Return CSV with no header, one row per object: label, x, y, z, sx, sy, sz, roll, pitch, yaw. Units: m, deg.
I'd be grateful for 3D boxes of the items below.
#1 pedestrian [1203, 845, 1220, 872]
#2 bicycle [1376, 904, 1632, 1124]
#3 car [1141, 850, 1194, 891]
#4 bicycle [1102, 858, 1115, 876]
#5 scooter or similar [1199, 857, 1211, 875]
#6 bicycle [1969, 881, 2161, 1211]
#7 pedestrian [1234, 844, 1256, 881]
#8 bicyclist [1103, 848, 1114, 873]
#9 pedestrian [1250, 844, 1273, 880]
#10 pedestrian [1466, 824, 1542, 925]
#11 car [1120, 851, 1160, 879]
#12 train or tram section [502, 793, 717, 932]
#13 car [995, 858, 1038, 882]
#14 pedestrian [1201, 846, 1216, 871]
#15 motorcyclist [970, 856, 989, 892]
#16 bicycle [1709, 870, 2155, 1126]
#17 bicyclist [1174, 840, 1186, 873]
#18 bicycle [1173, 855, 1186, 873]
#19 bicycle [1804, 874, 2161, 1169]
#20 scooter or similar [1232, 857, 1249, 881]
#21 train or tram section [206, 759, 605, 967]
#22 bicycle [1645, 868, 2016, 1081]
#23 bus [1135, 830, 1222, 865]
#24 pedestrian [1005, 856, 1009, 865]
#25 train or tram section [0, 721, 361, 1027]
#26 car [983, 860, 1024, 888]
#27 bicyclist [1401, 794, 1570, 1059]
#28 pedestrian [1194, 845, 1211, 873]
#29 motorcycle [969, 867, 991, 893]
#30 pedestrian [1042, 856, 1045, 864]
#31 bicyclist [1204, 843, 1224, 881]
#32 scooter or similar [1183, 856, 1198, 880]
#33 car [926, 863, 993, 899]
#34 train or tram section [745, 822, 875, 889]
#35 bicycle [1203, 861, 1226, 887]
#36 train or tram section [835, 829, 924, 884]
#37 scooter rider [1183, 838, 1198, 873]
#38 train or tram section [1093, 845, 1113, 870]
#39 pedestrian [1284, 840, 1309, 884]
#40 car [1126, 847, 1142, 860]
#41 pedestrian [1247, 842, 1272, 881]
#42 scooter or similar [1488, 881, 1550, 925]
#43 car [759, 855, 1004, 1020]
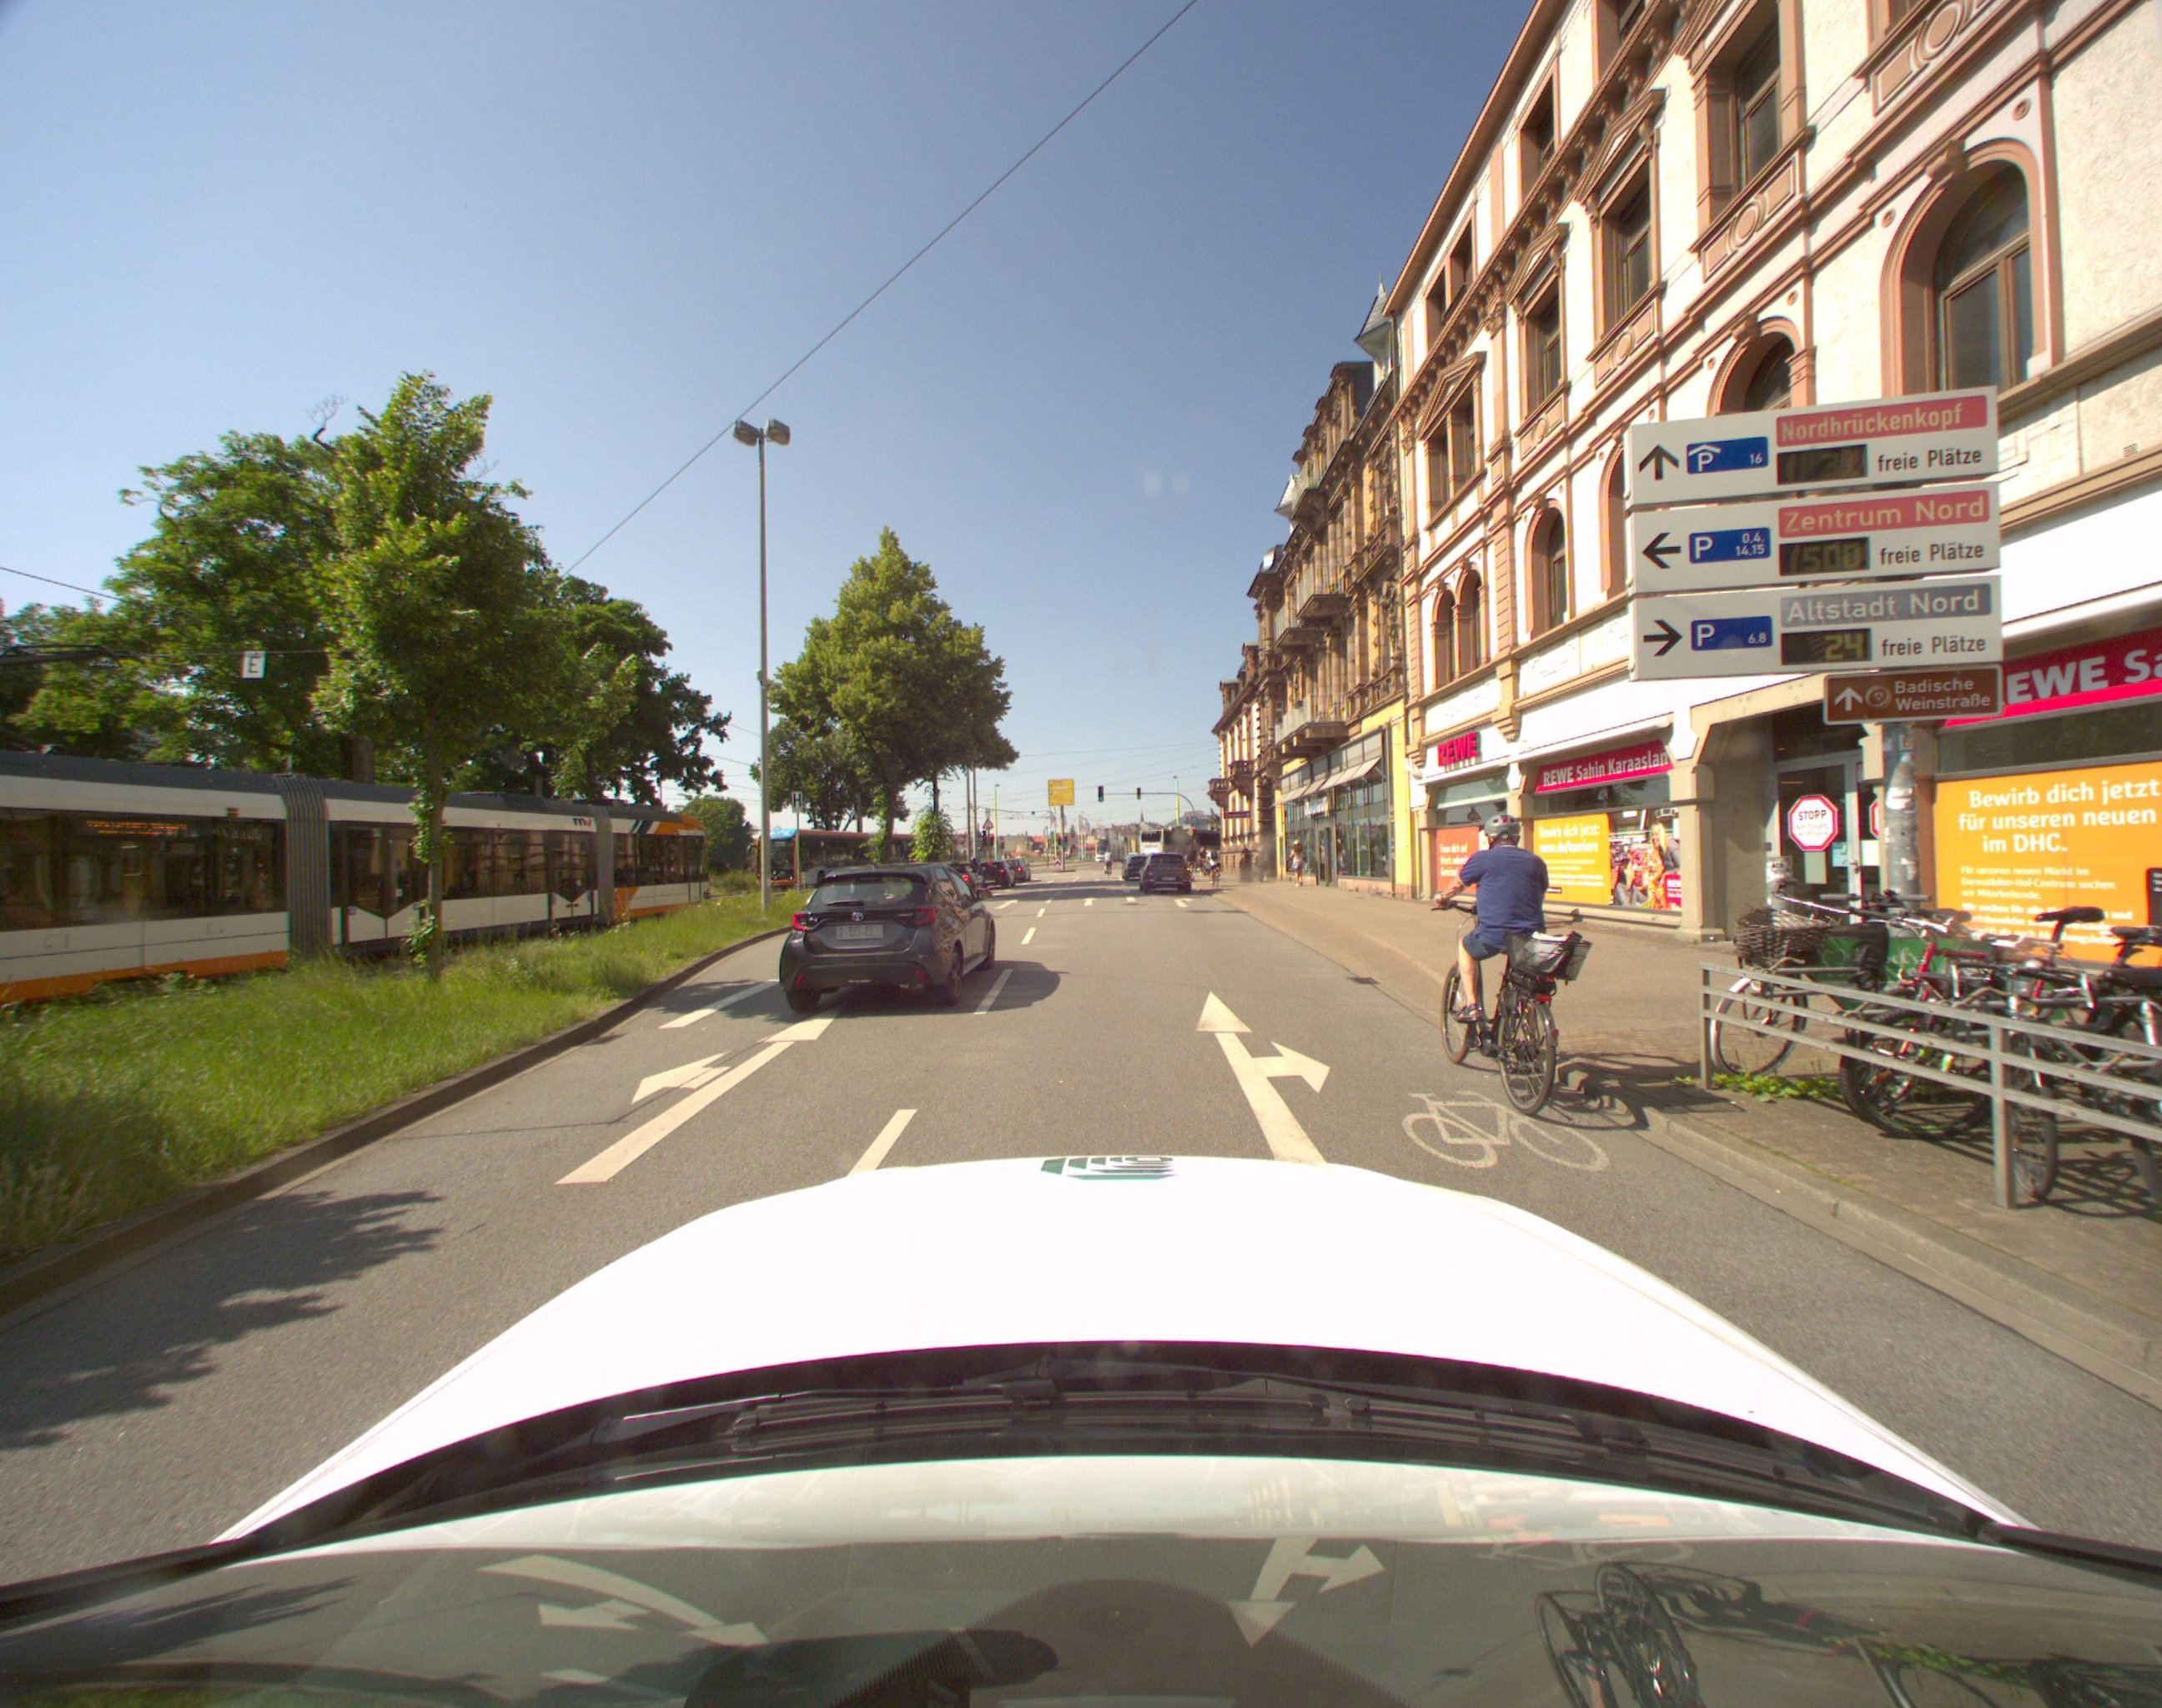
pedestrian,8.035,0.273,50.172,0.859,1.640,0.876,-2,0,0
bicycle,2.646,0.931,5.389,0.731,1.093,1.911,0,-1,1
car,3.278,0.612,31.533,1.866,1.493,4.003,0,-1,3
bicycle,1.718,0.829,51.020,0.731,1.093,1.898,0,-1,1
scooter or similar,7.323,0.722,48.282,0.598,1.047,0.799,0,-1,0
bicycle,4.599,0.701,3.180,1.687,1.179,0.470,-1,-1,2
pedestrian,7.422,0.376,36.850,0.859,1.640,0.875,0,-1,0
bicyclist,1.724,0.419,50.968,0.686,1.577,1.049,0,-1,1
pedestrian,8.364,0.389,37.782,0.859,1.640,0.875,0,-1,0
pedestrian,7.346,0.351,14.193,0.753,1.656,0.837,-5,-1,1
car,3.282,0.620,45.988,1.987,1.493,3.998,0,-1,-1
train or tram section,-13.474,0.247,23.965,2.603,3.581,6.019,0,-1,2
car,-3.838,0.945,48.975,2.028,1.332,4.003,0,-1,3
pedestrian,8.368,0.303,53.298,0.859,1.640,0.875,0,-1,0
motorcyclist,-4.515,0.894,36.398,0.687,1.555,0.717,-3,-2,-1
bicycle,4.542,0.738,4.433,1.686,1.178,0.609,-4,0,2
bicyclist,6.086,0.162,50.024,0.685,1.962,0.779,0,-1,5
bicycle,6.074,0.632,50.086,0.730,1.093,1.900,0,-1,5
bicycle,4.504,0.727,3.779,1.686,1.178,0.609,-3,0,2
scooter or similar,7.335,0.686,37.440,0.598,1.047,0.799,0,-1,0
train or tram section,-13.679,0.181,17.515,2.603,3.581,6.901,0,-1,2
bicycle,4.586,0.714,5.065,1.686,1.178,0.609,-2,0,2
bus,8.365,-0.482,68.944,2.941,2.776,8.694,0,-1,41
pedestrian,-10.675,0.937,117.340,0.556,1.416,0.636,0,-1,0
train or tram section,-13.885,0.251,11.437,2.603,3.581,5.359,0,-1,2
car,-3.850,0.977,40.824,1.445,1.301,4.003,0,-1,3
bicyclist,2.649,0.446,5.431,0.686,1.616,0.918,0,-1,1
pedestrian,7.314,0.305,49.025,0.859,1.640,0.875,0,-1,0
motorcycle,-4.499,1.168,36.511,0.696,1.064,1.909,-4,0,-1
pedestrian,-6.760,1.098,147.361,0.556,1.416,0.636,0,-1,0
bicyclist,5.575,0.326,34.088,0.686,1.577,1.050,0,-1,1
scooter or similar,5.532,0.715,41.271,0.685,1.167,1.466,0,-1,5
car,-4.652,1.011,31.805,1.808,1.332,4.003,0,-1,3
train or tram section,-15.783,0.144,48.581,2.805,3.581,10.060,0,-1,10
bicycle,5.576,0.824,34.129,0.731,1.093,1.898,0,-1,2
train or tram section,-14.050,0.196,57.610,2.804,3.581,8.252,0,-1,12
scooter rider,5.553,0.071,41.318,0.685,1.729,0.779,0,-1,5
train or tram section,3.516,0.518,130.166,2.810,3.777,8.235,0,0,4
pedestrian,8.144,0.282,30.809,0.652,1.620,0.815,-2,0,0
car,6.348,-0.010,97.358,1.851,1.507,4.003,0,-1,3
pedestrian,7.743,0.313,35.396,0.859,1.640,0.875,-2,0,0
scooter or similar,7.368,0.824,13.728,0.688,0.650,0.565,-5,-1,1
car,-2.080,0.814,9.697,1.771,1.475,4.001,-3,-1,1
